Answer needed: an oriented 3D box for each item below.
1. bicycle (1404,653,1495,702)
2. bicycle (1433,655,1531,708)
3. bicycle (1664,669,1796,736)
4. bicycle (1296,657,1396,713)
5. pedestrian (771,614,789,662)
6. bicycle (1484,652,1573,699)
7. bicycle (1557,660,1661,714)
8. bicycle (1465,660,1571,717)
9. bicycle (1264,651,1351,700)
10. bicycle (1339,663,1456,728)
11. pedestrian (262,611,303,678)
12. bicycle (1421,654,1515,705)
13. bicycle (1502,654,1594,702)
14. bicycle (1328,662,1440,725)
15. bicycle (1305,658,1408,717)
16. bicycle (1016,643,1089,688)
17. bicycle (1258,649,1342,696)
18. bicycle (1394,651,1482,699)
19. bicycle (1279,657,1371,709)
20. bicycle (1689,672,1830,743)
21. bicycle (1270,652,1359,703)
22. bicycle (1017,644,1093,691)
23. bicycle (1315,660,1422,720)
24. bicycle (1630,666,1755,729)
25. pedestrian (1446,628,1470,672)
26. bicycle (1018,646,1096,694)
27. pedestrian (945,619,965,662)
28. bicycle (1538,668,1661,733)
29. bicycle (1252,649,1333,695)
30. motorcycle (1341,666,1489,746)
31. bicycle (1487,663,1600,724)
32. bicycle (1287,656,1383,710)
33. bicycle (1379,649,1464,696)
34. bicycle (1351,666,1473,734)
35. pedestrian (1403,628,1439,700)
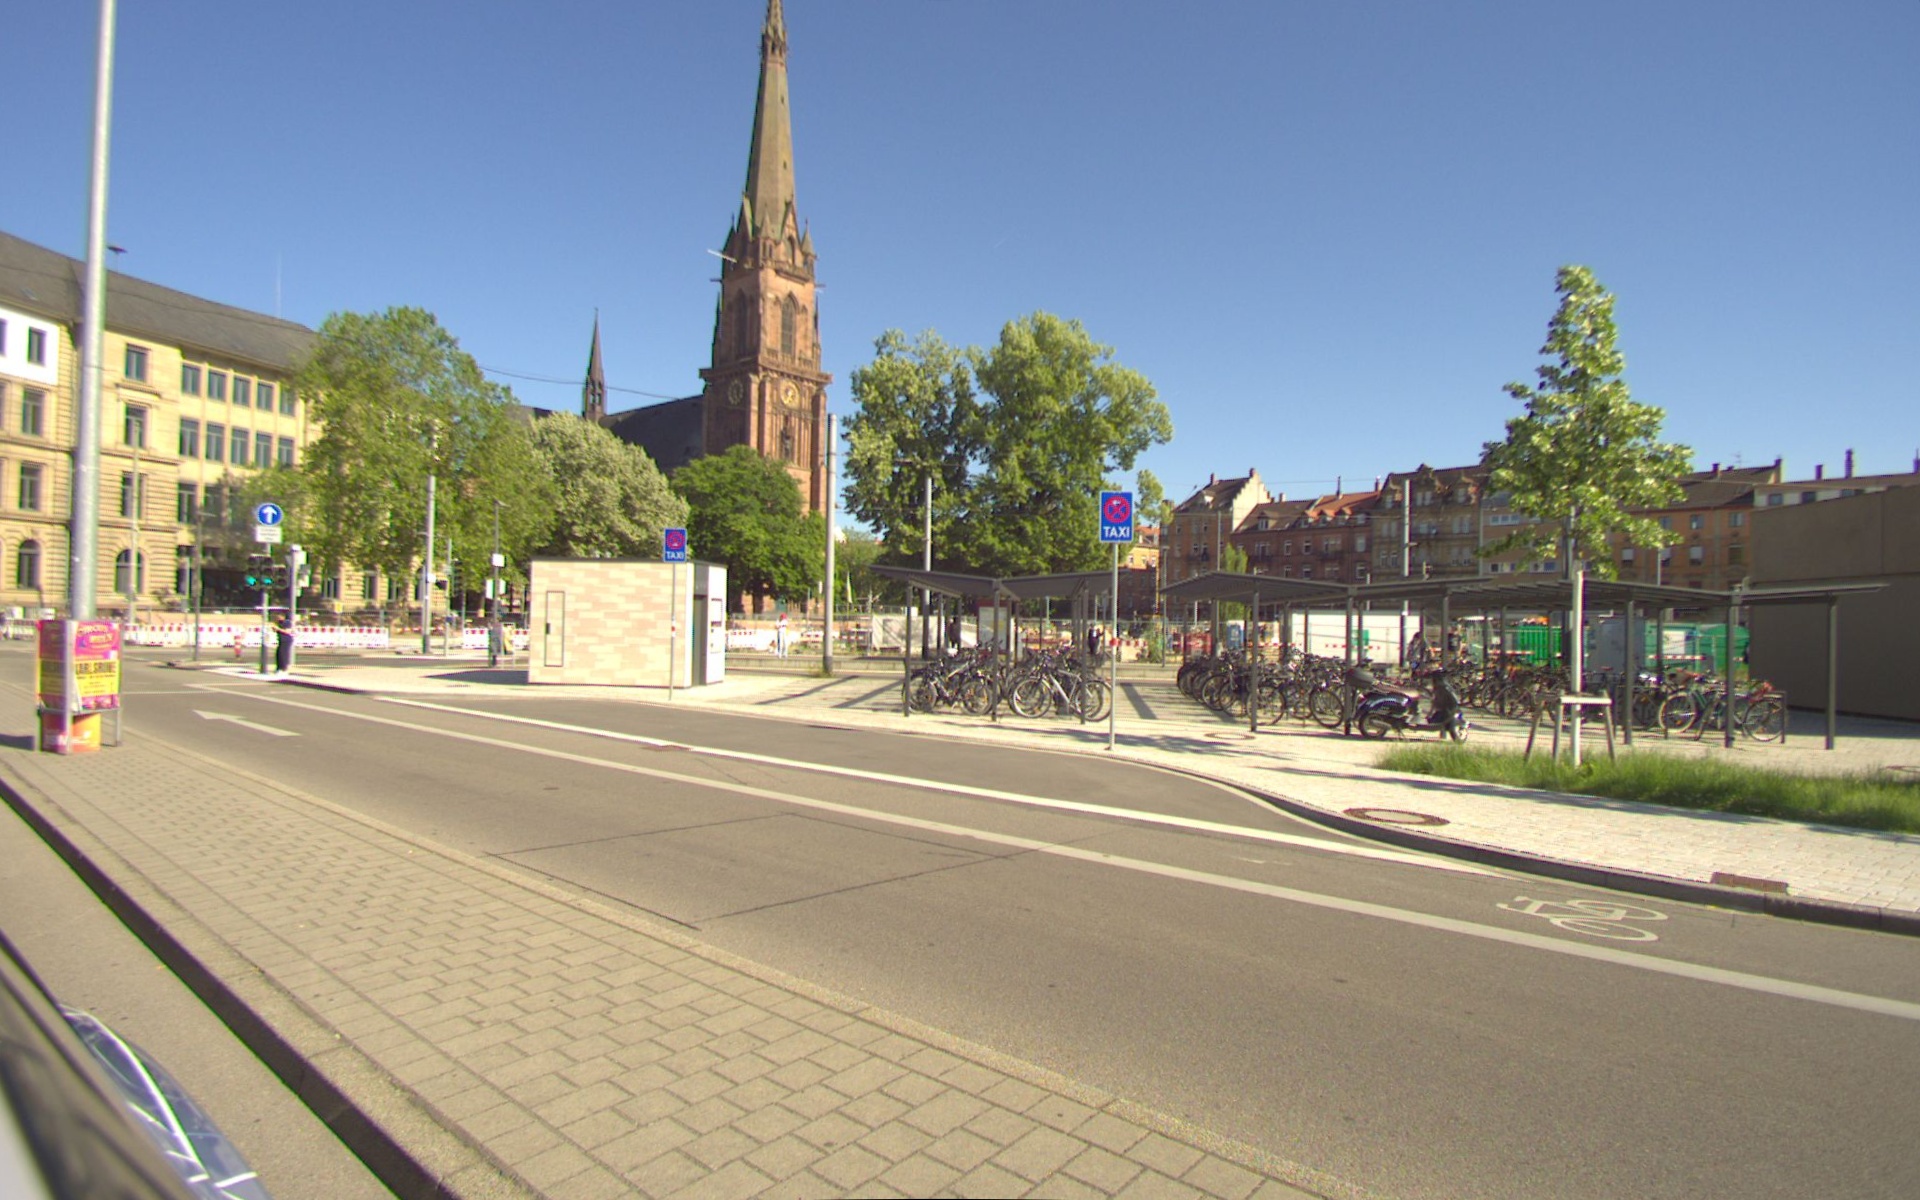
[{"bbox_3d":[11.160,1.760,23.102,1.765,1.046,0.567,2,-3,4],"label":"bicycle"},{"bbox_3d":[11.119,1.738,21.591,1.765,1.046,0.567,2,-3,4],"label":"bicycle"},{"bbox_3d":[13.132,1.734,17.301,1.765,1.046,0.567,2,-3,4],"label":"bicycle"},{"bbox_3d":[7.766,1.706,20.390,1.765,1.046,0.567,2,-3,4],"label":"bicycle"},{"bbox_3d":[-6.690,1.430,37.681,0.529,1.736,0.684,0,-6,-19],"label":"pedestrian"},{"bbox_3d":[13.579,1.795,24.208,1.765,1.046,0.567,2,-3,4],"label":"bicycle"},{"bbox_3d":[13.590,1.811,21.207,1.765,1.046,0.567,2,-3,4],"label":"bicycle"},{"bbox_3d":[11.033,1.747,20.042,1.765,1.046,0.567,2,-3,4],"label":"bicycle"},{"bbox_3d":[7.945,1.723,23.184,1.765,1.046,0.567,2,-3,4],"label":"bicycle"},{"bbox_3d":[7.640,1.654,17.720,1.765,1.046,0.567,2,-3,4],"label":"bicycle"},{"bbox_3d":[-17.830,1.156,26.639,0.648,1.693,0.779,0,0,42],"label":"pedestrian"},{"bbox_3d":[11.181,1.750,22.308,1.765,1.046,0.567,2,-3,4],"label":"bicycle"},{"bbox_3d":[13.633,1.799,23.493,1.765,1.046,0.567,2,-3,4],"label":"bicycle"},{"bbox_3d":[7.664,1.675,18.322,1.765,1.046,0.567,2,-3,4],"label":"bicycle"},{"bbox_3d":[7.707,1.692,19.703,1.765,1.046,0.567,2,-3,4],"label":"bicycle"},{"bbox_3d":[2.278,1.615,25.035,1.765,1.046,0.567,2,-3,4],"label":"bicycle"},{"bbox_3d":[7.989,1.700,23.819,1.765,1.046,0.567,2,-3,4],"label":"bicycle"},{"bbox_3d":[11.193,1.750,23.723,1.765,1.046,0.567,2,-3,4],"label":"bicycle"},{"bbox_3d":[7.858,1.778,21.816,1.765,1.046,0.567,2,-3,4],"label":"bicycle"},{"bbox_3d":[12.905,1.732,16.367,1.765,1.046,0.567,2,-3,4],"label":"bicycle"},{"bbox_3d":[7.896,1.723,22.582,1.765,1.046,0.567,2,-3,4],"label":"bicycle"},{"bbox_3d":[2.285,1.621,24.403,1.765,1.046,0.567,2,-3,4],"label":"bicycle"},{"bbox_3d":[7.675,1.680,19.067,1.765,1.046,0.567,2,-3,4],"label":"bicycle"},{"bbox_3d":[13.338,1.757,18.467,1.769,1.046,0.566,1,-3,12],"label":"bicycle"},{"bbox_3d":[17.500,1.748,35.595,0.581,1.530,0.559,1,-2,6],"label":"pedestrian"},{"bbox_3d":[2.260,1.630,23.776,1.765,1.046,0.567,2,-3,4],"label":"bicycle"},{"bbox_3d":[-0.185,1.570,39.425,0.518,1.667,0.559,0,0,41],"label":"pedestrian"},{"bbox_3d":[11.198,1.748,17.754,1.765,1.046,0.567,2,-3,4],"label":"bicycle"},{"bbox_3d":[8.019,1.736,24.455,1.765,1.046,0.567,2,-3,4],"label":"bicycle"},{"bbox_3d":[6.915,1.604,15.457,1.962,1.127,0.593,1,-2,8],"label":"motorcycle"},{"bbox_3d":[10.958,1.753,19.046,1.765,1.046,0.567,2,-3,4],"label":"bicycle"},{"bbox_3d":[7.809,1.724,21.100,1.765,1.046,0.567,2,-3,4],"label":"bicycle"},{"bbox_3d":[11.125,1.743,24.437,1.765,1.046,0.567,2,-3,4],"label":"bicycle"},{"bbox_3d":[7.596,1.667,17.056,1.765,1.046,0.567,2,-3,4],"label":"bicycle"},{"bbox_3d":[11.442,1.581,25.127,0.618,1.736,0.672,-1,-2,44],"label":"pedestrian"}]
